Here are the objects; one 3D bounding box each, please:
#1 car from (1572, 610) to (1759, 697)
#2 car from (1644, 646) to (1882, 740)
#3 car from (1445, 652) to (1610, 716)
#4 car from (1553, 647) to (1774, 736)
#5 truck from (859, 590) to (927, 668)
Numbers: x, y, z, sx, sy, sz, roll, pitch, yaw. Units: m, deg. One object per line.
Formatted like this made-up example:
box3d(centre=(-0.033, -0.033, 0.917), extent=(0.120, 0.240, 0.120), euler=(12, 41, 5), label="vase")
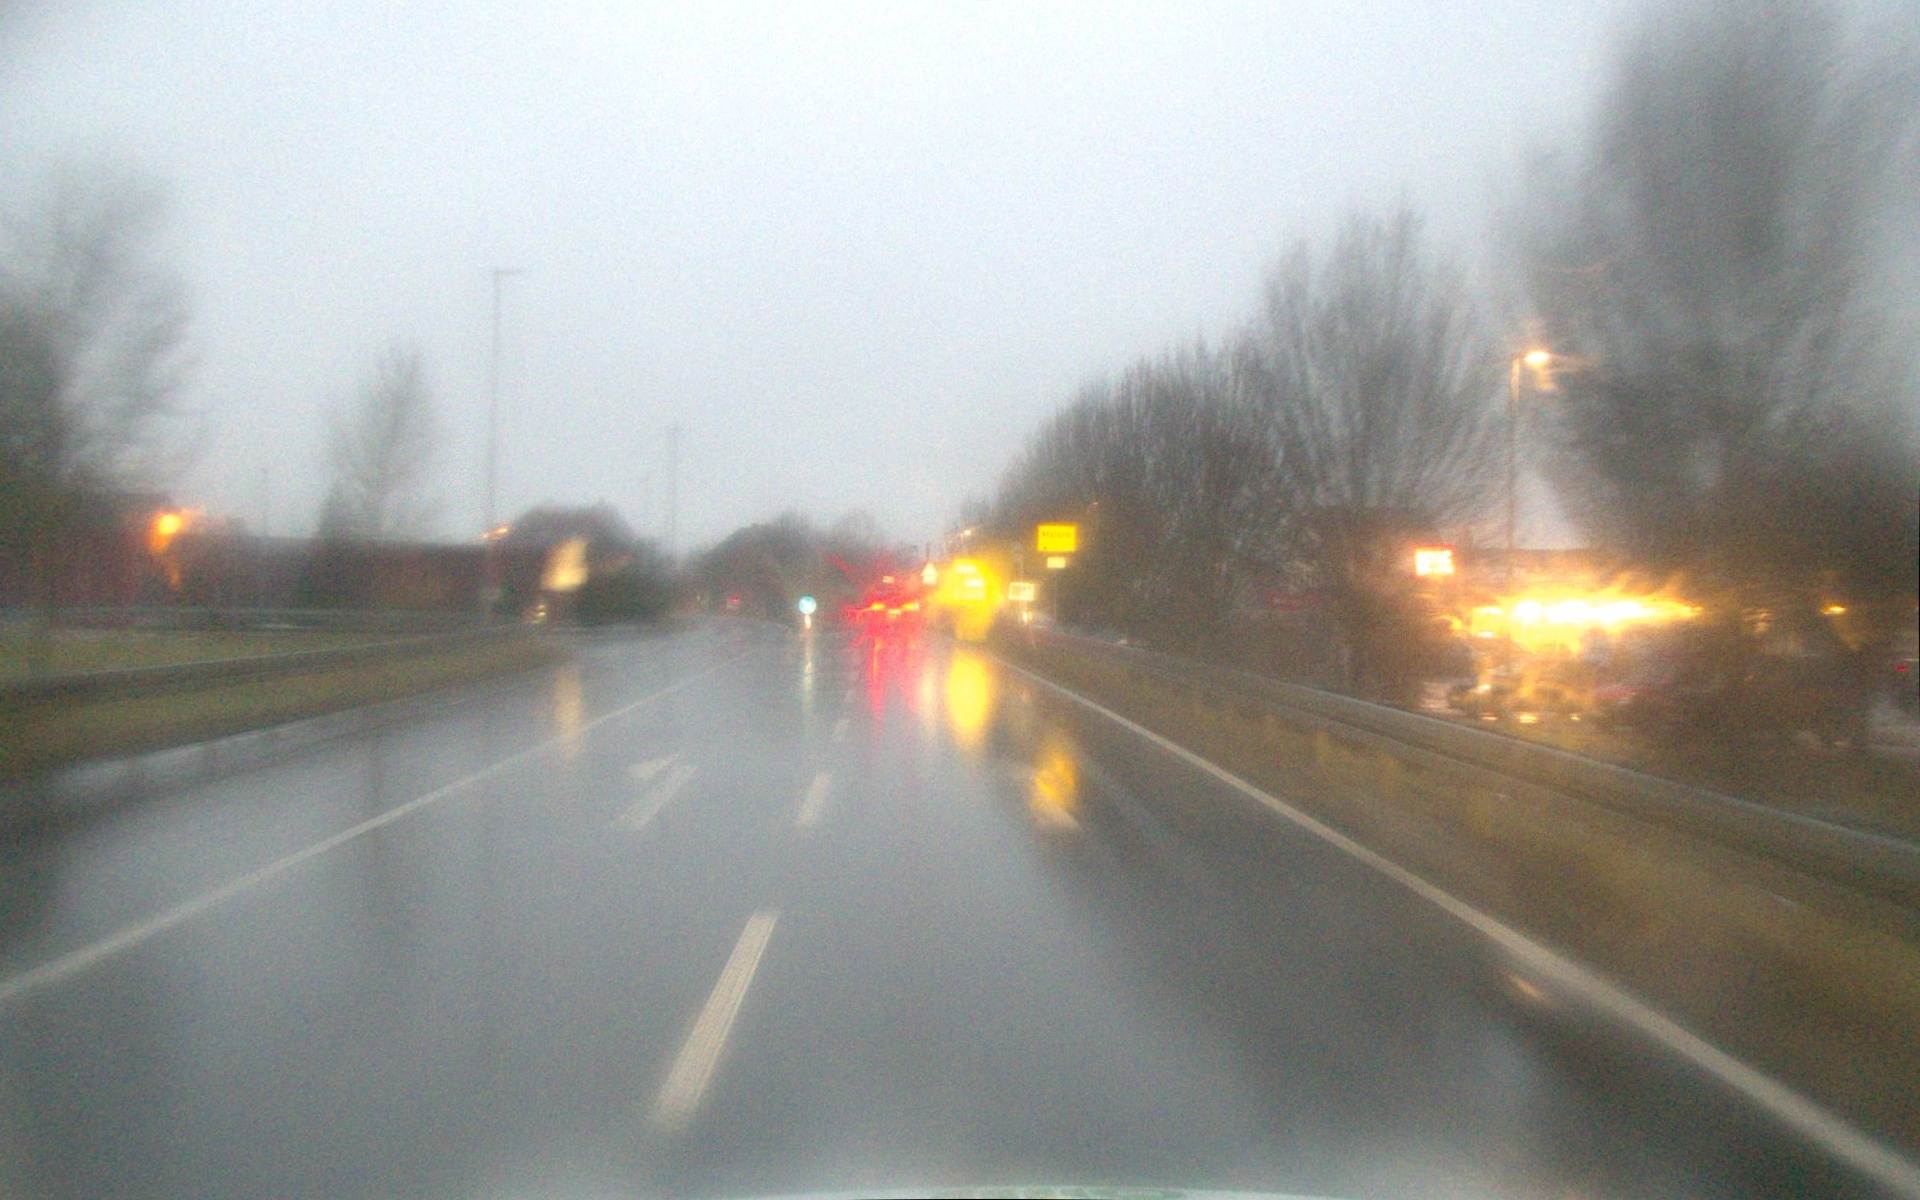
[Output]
box3d(centre=(24.130, 1.866, 56.710), extent=(5.527, 2.825, 2.089), euler=(-2, -5, 40), label="car")
box3d(centre=(15.918, 1.799, 32.822), extent=(4.067, 1.760, 2.009), euler=(1, -2, -21), label="car")
box3d(centre=(13.872, 2.039, 40.520), extent=(3.473, 1.448, 1.658), euler=(2, -2, -12), label="car")
box3d(centre=(14.932, 1.906, 35.128), extent=(4.065, 1.755, 2.010), euler=(1, -1, -20), label="car")
box3d(centre=(-2.759, 1.121, 66.622), extent=(2.482, 2.919, 5.917), euler=(2, 0, -4), label="truck")
